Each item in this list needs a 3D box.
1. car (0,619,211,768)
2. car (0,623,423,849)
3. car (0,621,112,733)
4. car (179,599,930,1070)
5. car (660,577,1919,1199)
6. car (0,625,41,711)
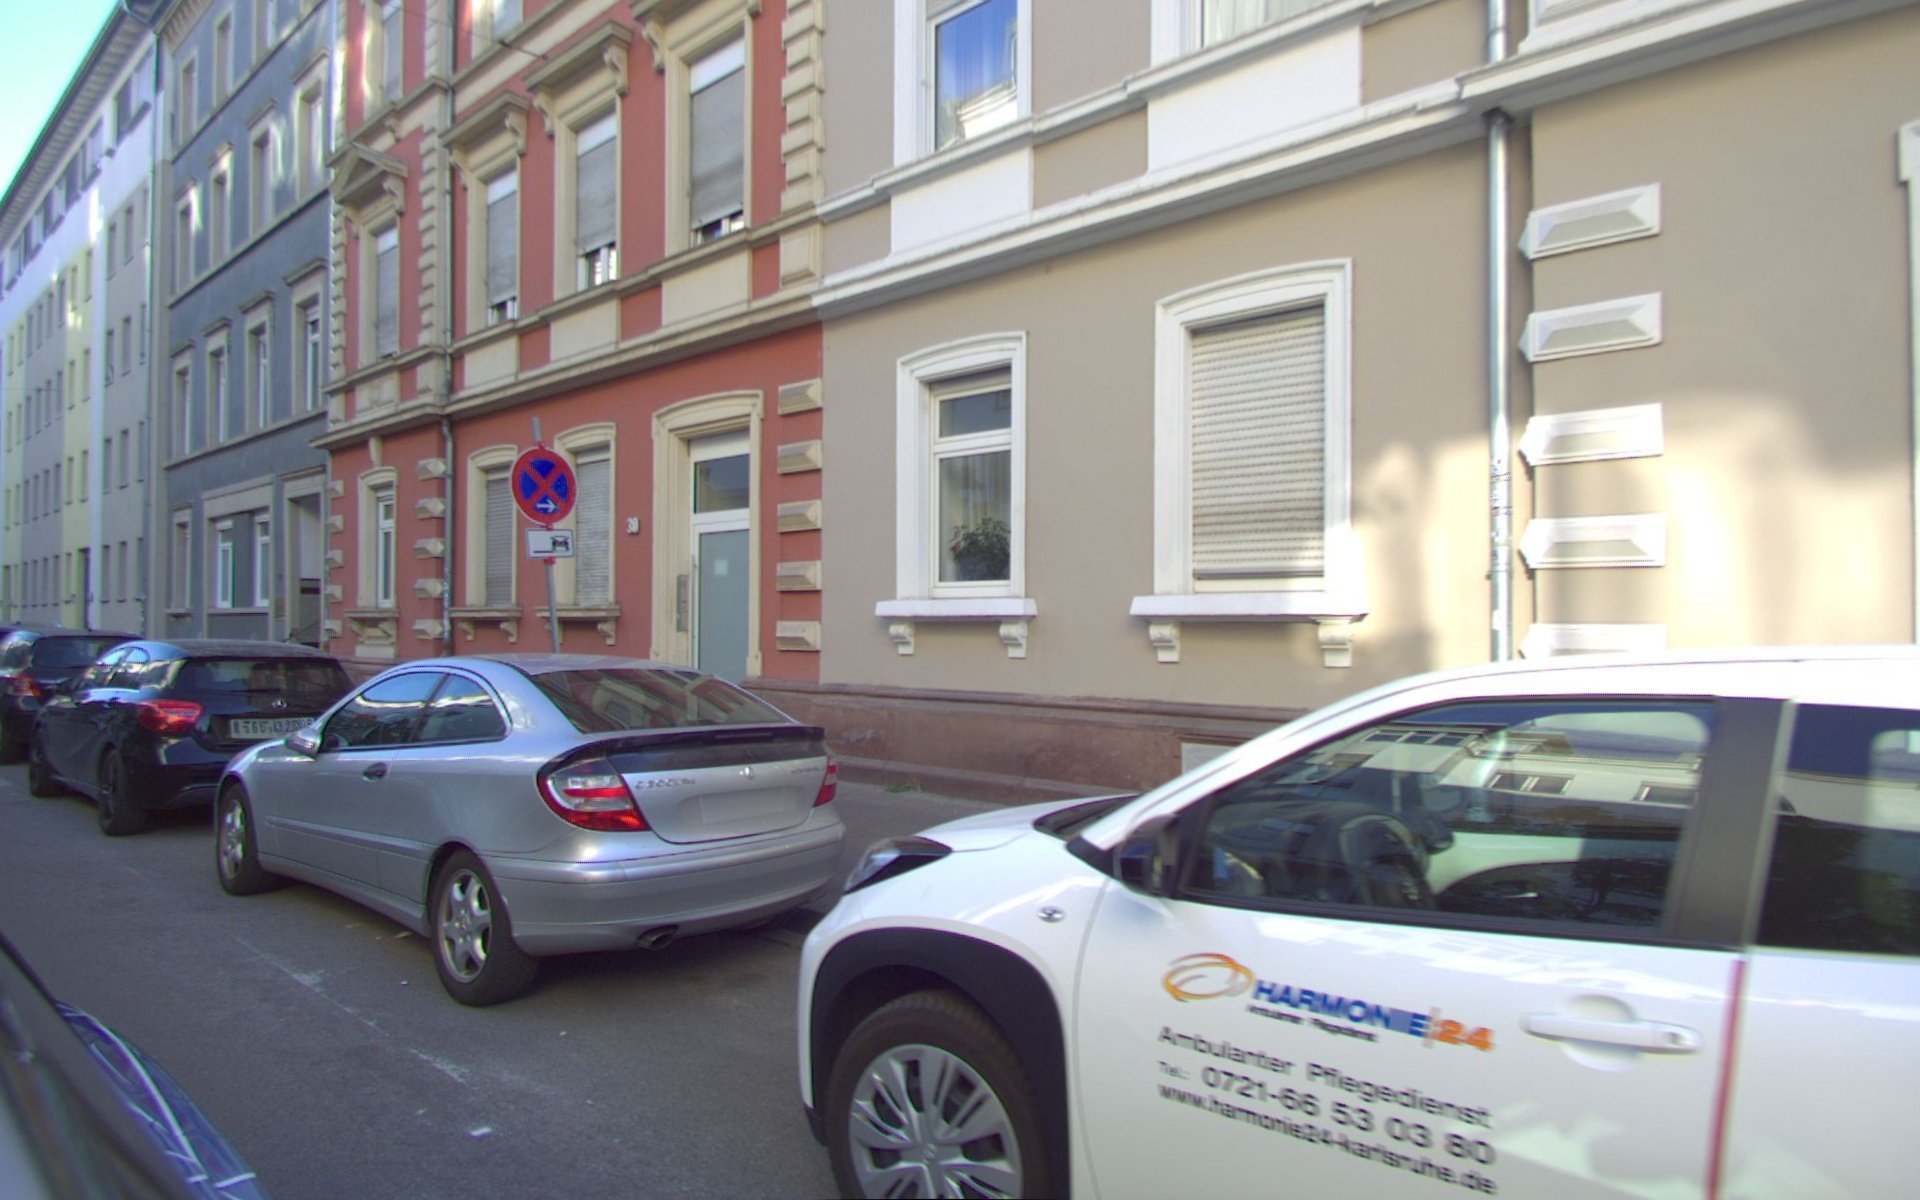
[{"bbox_3d":[-11.223,1.084,12.671,4.235,1.572,1.882,-2,-4,39],"label":"car"},{"bbox_3d":[-6.654,1.008,8.828,4.261,1.495,1.902,-2,-4,39],"label":"car"},{"bbox_3d":[-14.963,1.145,15.704,4.261,1.572,1.902,-2,-4,39],"label":"car"},{"bbox_3d":[-2.404,0.888,5.504,4.261,1.572,1.902,-2,-4,39],"label":"car"},{"bbox_3d":[1.455,0.794,2.117,4.262,1.519,1.901,-2,-4,39],"label":"car"},{"bbox_3d":[-19.479,1.270,19.495,4.261,1.572,1.902,-2,-4,39],"label":"car"}]
